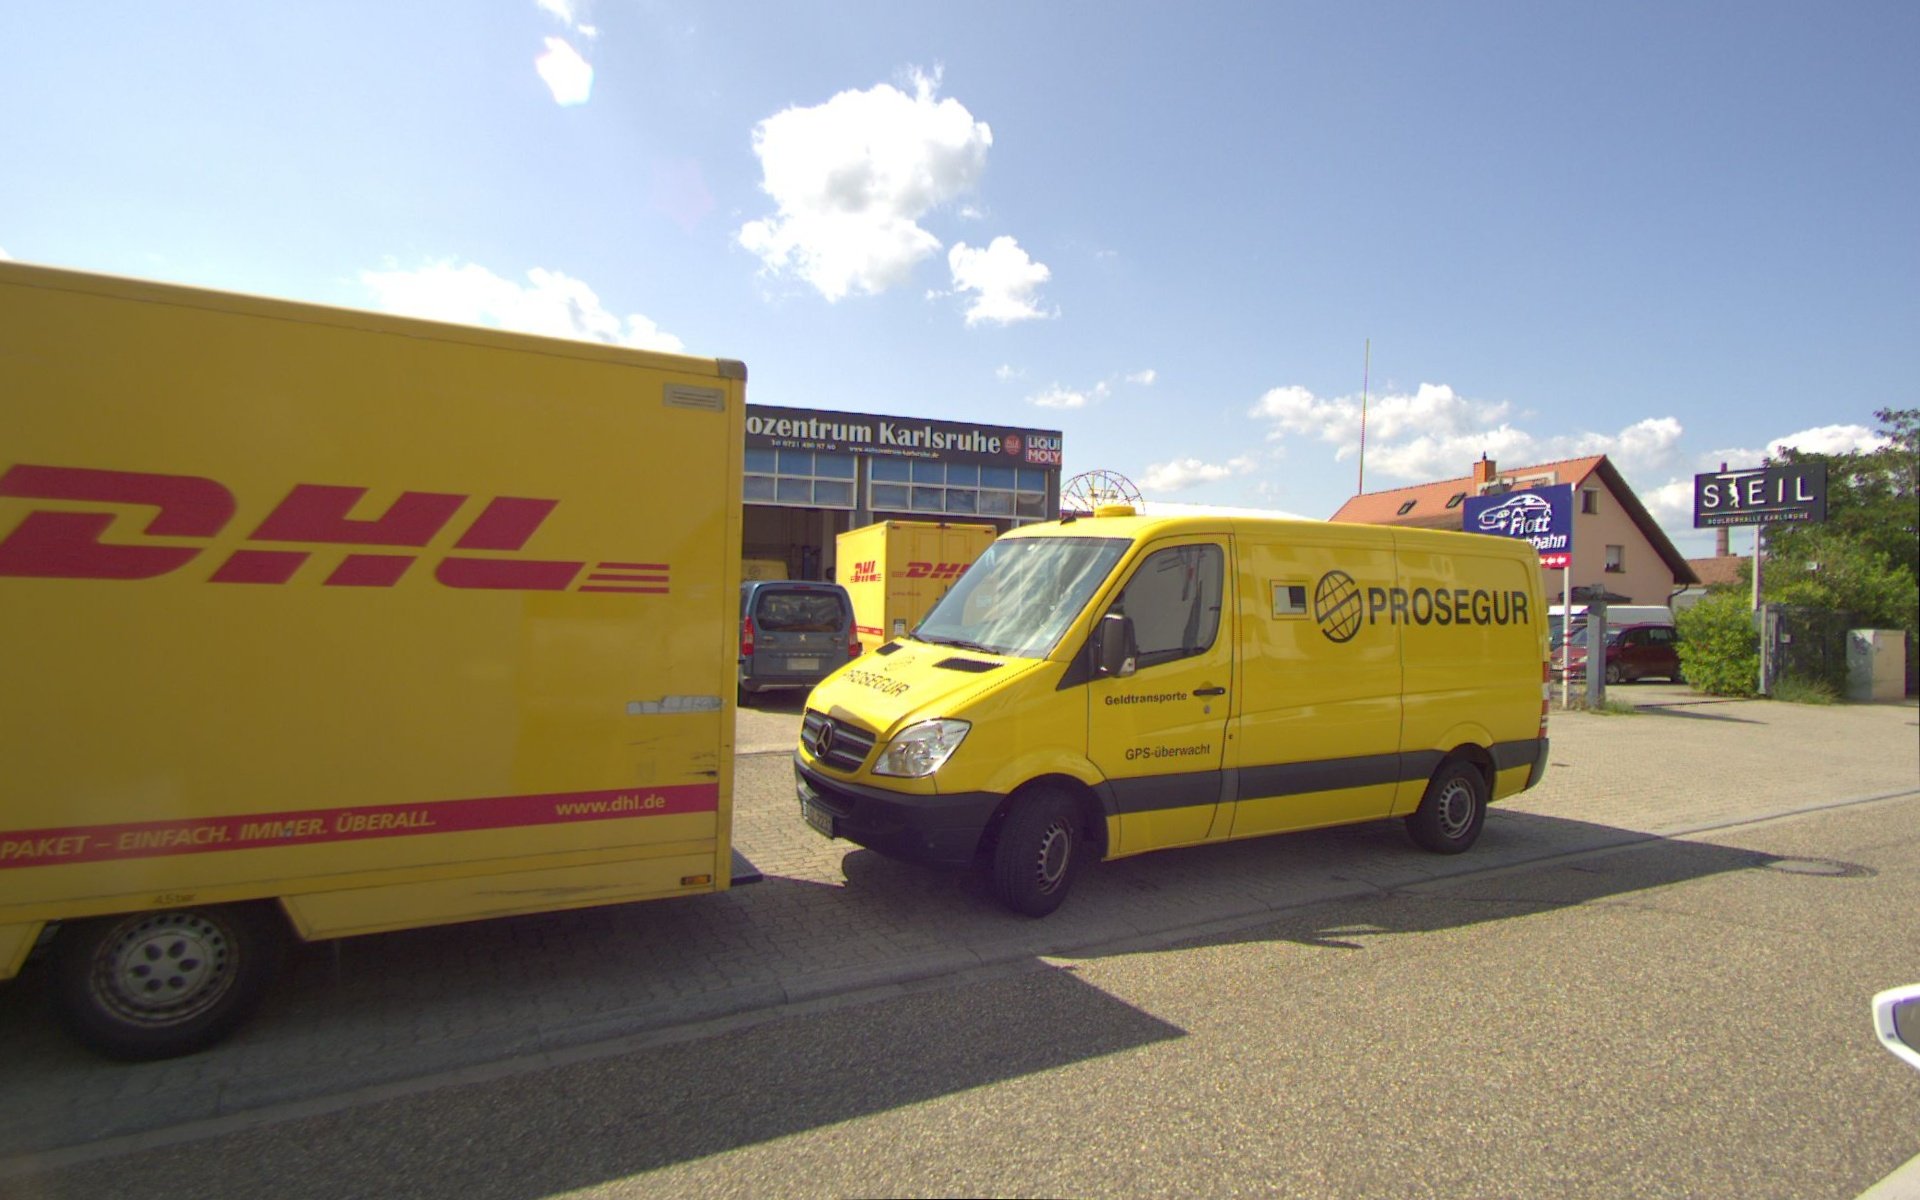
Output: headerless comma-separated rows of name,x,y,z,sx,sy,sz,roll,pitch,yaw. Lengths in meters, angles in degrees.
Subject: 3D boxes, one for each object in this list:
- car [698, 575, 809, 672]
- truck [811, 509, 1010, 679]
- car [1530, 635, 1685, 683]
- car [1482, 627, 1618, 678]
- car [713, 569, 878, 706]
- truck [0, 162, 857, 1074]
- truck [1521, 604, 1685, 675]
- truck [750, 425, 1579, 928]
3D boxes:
car,-4.257,0.465,20.296,1.705,1.754,3.839,2,-1,-19
truck,-1.288,-0.055,20.614,2.488,2.888,6.595,2,-1,-17
car,19.132,1.711,29.704,3.805,1.322,1.810,1,-1,-16
car,19.466,1.724,33.178,3.855,1.533,1.764,2,-1,-18
car,-2.723,0.488,15.835,1.827,1.834,3.922,2,1,-20
truck,-4.089,0.021,3.865,6.983,2.895,2.210,2,1,-29
truck,24.374,1.499,38.096,5.628,2.521,2.110,2,-1,-17
truck,1.723,0.463,7.228,5.991,2.445,1.985,2,-1,-29
